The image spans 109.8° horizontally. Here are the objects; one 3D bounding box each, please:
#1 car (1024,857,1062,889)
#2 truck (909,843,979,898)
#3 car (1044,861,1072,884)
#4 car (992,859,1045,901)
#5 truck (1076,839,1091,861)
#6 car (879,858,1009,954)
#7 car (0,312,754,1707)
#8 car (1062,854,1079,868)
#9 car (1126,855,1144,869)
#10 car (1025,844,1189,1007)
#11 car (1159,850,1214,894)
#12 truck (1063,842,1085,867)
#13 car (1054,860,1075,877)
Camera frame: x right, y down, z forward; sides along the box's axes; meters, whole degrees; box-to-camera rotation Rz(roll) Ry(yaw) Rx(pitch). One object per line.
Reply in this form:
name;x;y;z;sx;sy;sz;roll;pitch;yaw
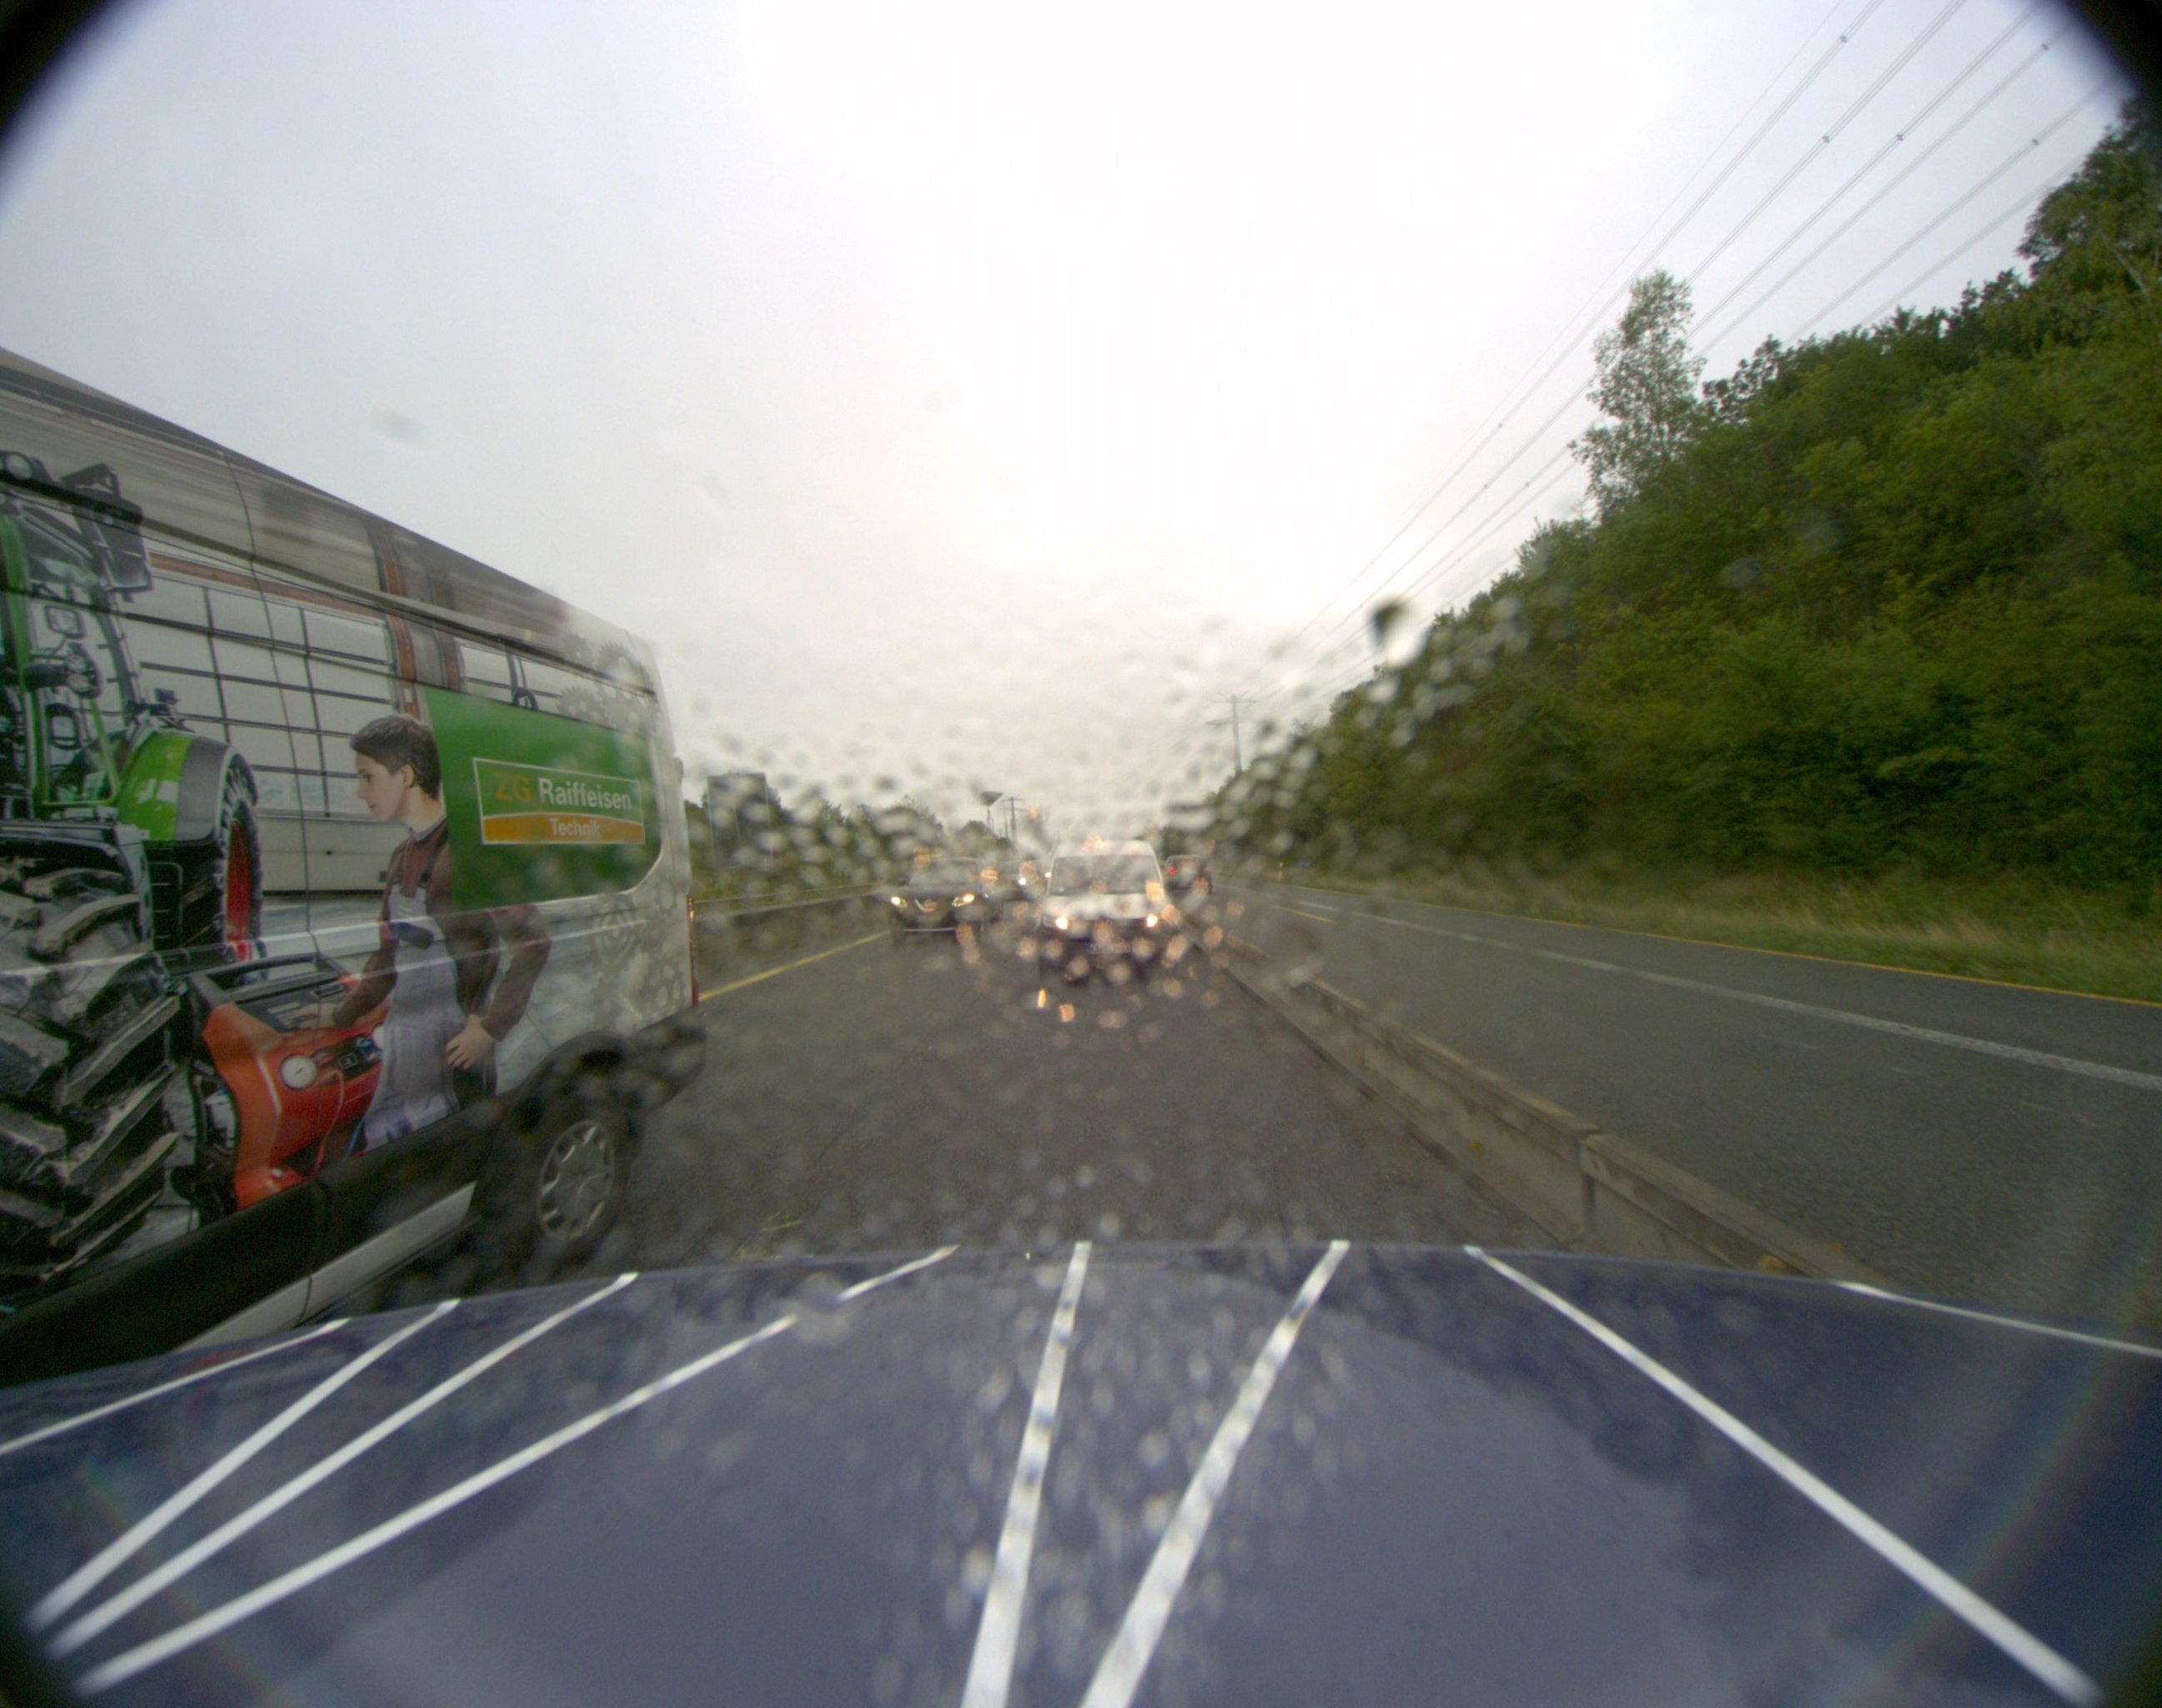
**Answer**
car;-2.057;0.998;42.051;1.784;1.589;4.123;-2;0;0
truck;-9.324;0.988;52.929;2.619;3.404;9.576;-2;0;3
car;-1.629;1.315;54.701;1.784;1.482;4.123;-2;0;0
car;-2.493;1.007;31.148;1.784;1.482;4.123;-2;0;0
truck;0.541;-0.789;147.126;2.619;3.868;9.575;-2;1;0
car;-2.770;0.974;16.443;1.894;1.665;4.640;-2;0;0
car;-2.989;0.396;0.990;2.149;2.660;6.117;-2;1;3
car;-1.132;0.762;83.808;1.784;1.482;4.123;-2;0;0
car;6.215;0.904;87.380;1.799;1.546;4.000;-2;0;1
car;0.310;0.789;10.901;1.784;1.775;4.697;-2;0;0
car;4.298;0.685;31.474;1.814;1.623;4.118;-2;0;3
truck;-0.958;0.046;113.015;2.619;3.404;9.576;-2;0;2
car;-1.547;1.374;72.454;1.784;1.482;4.123;-2;0;0
